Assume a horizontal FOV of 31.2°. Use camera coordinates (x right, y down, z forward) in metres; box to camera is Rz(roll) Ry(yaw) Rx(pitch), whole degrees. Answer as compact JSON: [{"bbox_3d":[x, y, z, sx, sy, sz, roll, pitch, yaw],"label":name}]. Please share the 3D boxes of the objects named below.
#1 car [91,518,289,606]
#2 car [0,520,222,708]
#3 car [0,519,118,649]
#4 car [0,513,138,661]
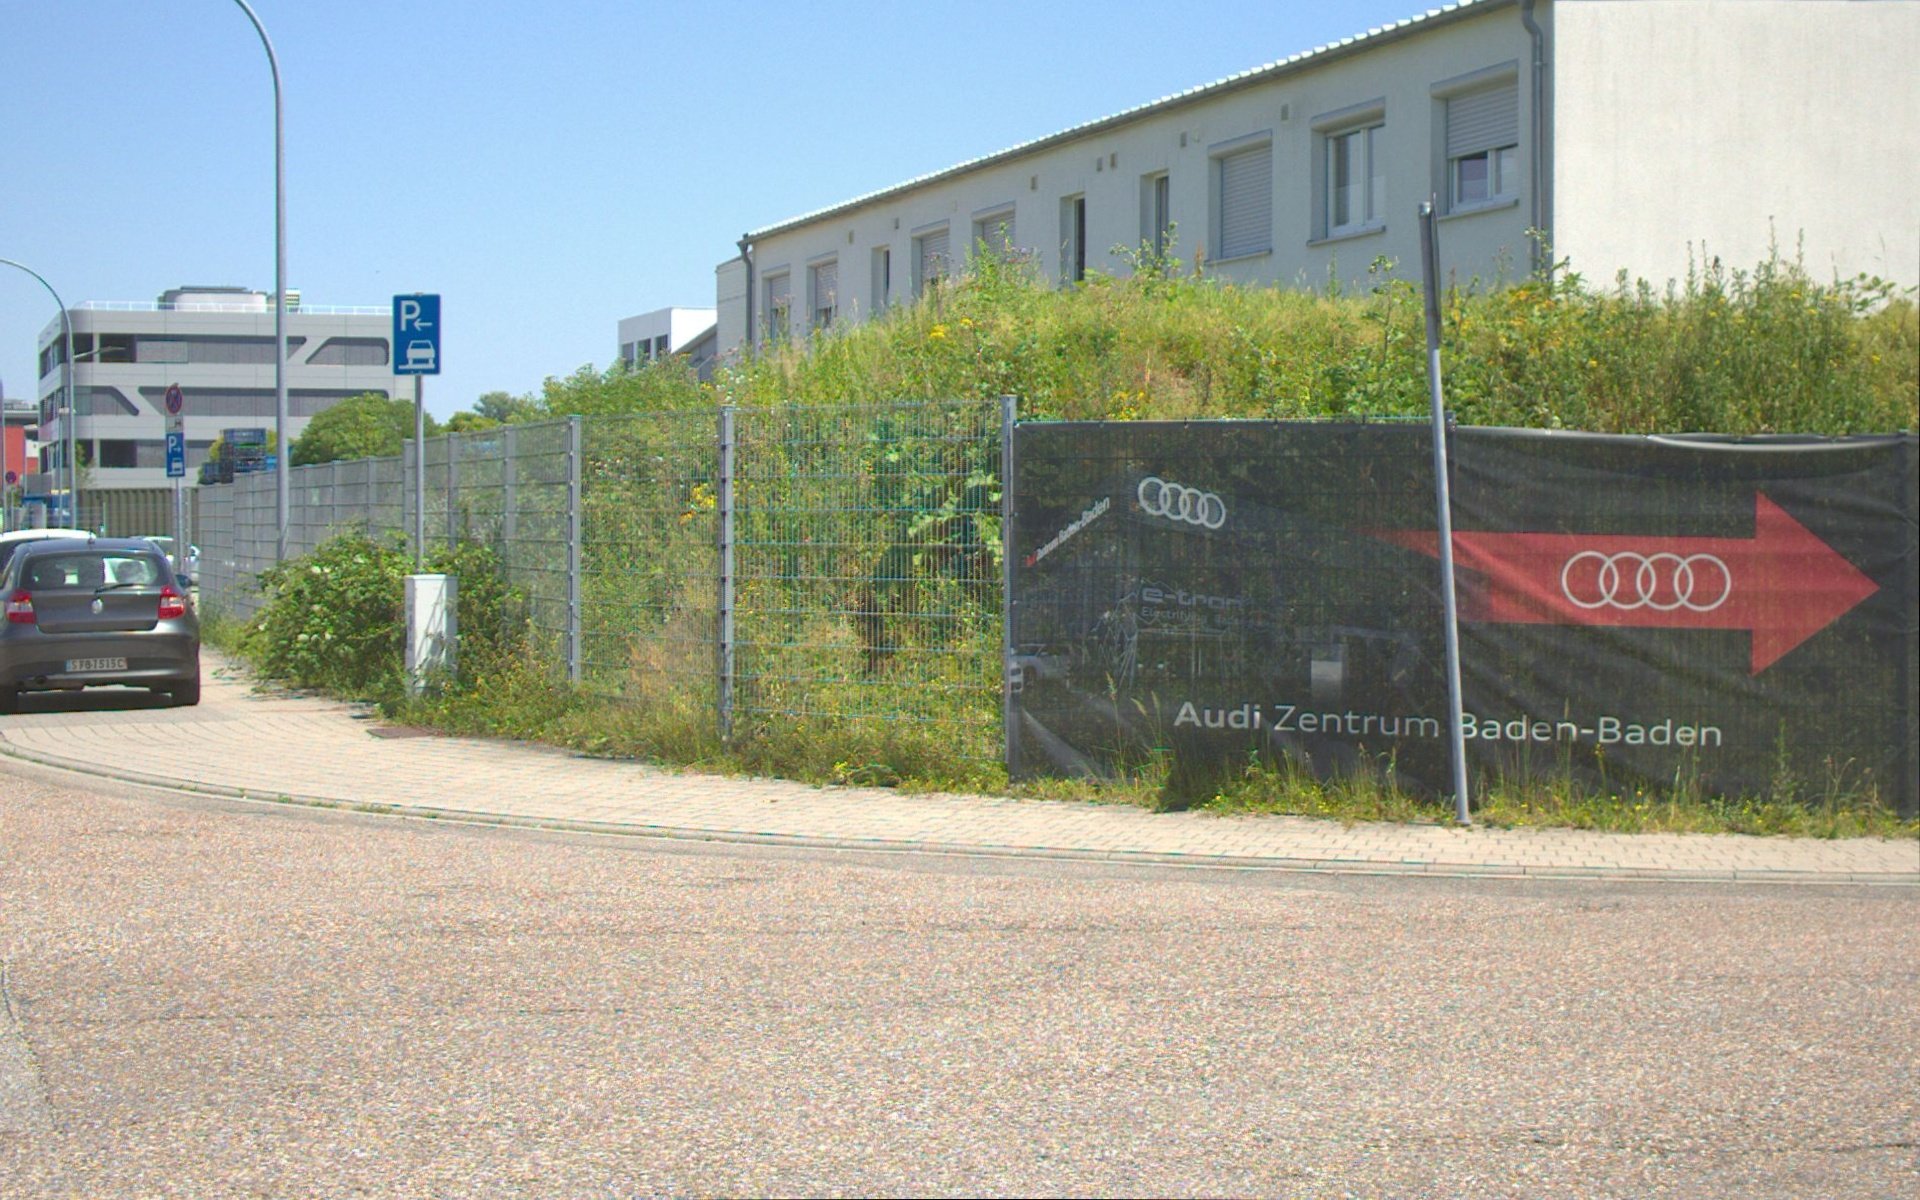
[{"bbox_3d":[-18.951,-0.947,84.539,4.623,2.007,2.607,2,1,-14],"label":"car"},{"bbox_3d":[-7.484,0.068,29.785,1.907,1.443,4.001,-2,2,-15],"label":"car"},{"bbox_3d":[-11.865,-0.242,44.194,1.907,1.541,4.001,-2,2,-15],"label":"car"},{"bbox_3d":[-10.318,-0.184,38.744,1.907,1.541,4.001,-2,2,-15],"label":"car"}]
